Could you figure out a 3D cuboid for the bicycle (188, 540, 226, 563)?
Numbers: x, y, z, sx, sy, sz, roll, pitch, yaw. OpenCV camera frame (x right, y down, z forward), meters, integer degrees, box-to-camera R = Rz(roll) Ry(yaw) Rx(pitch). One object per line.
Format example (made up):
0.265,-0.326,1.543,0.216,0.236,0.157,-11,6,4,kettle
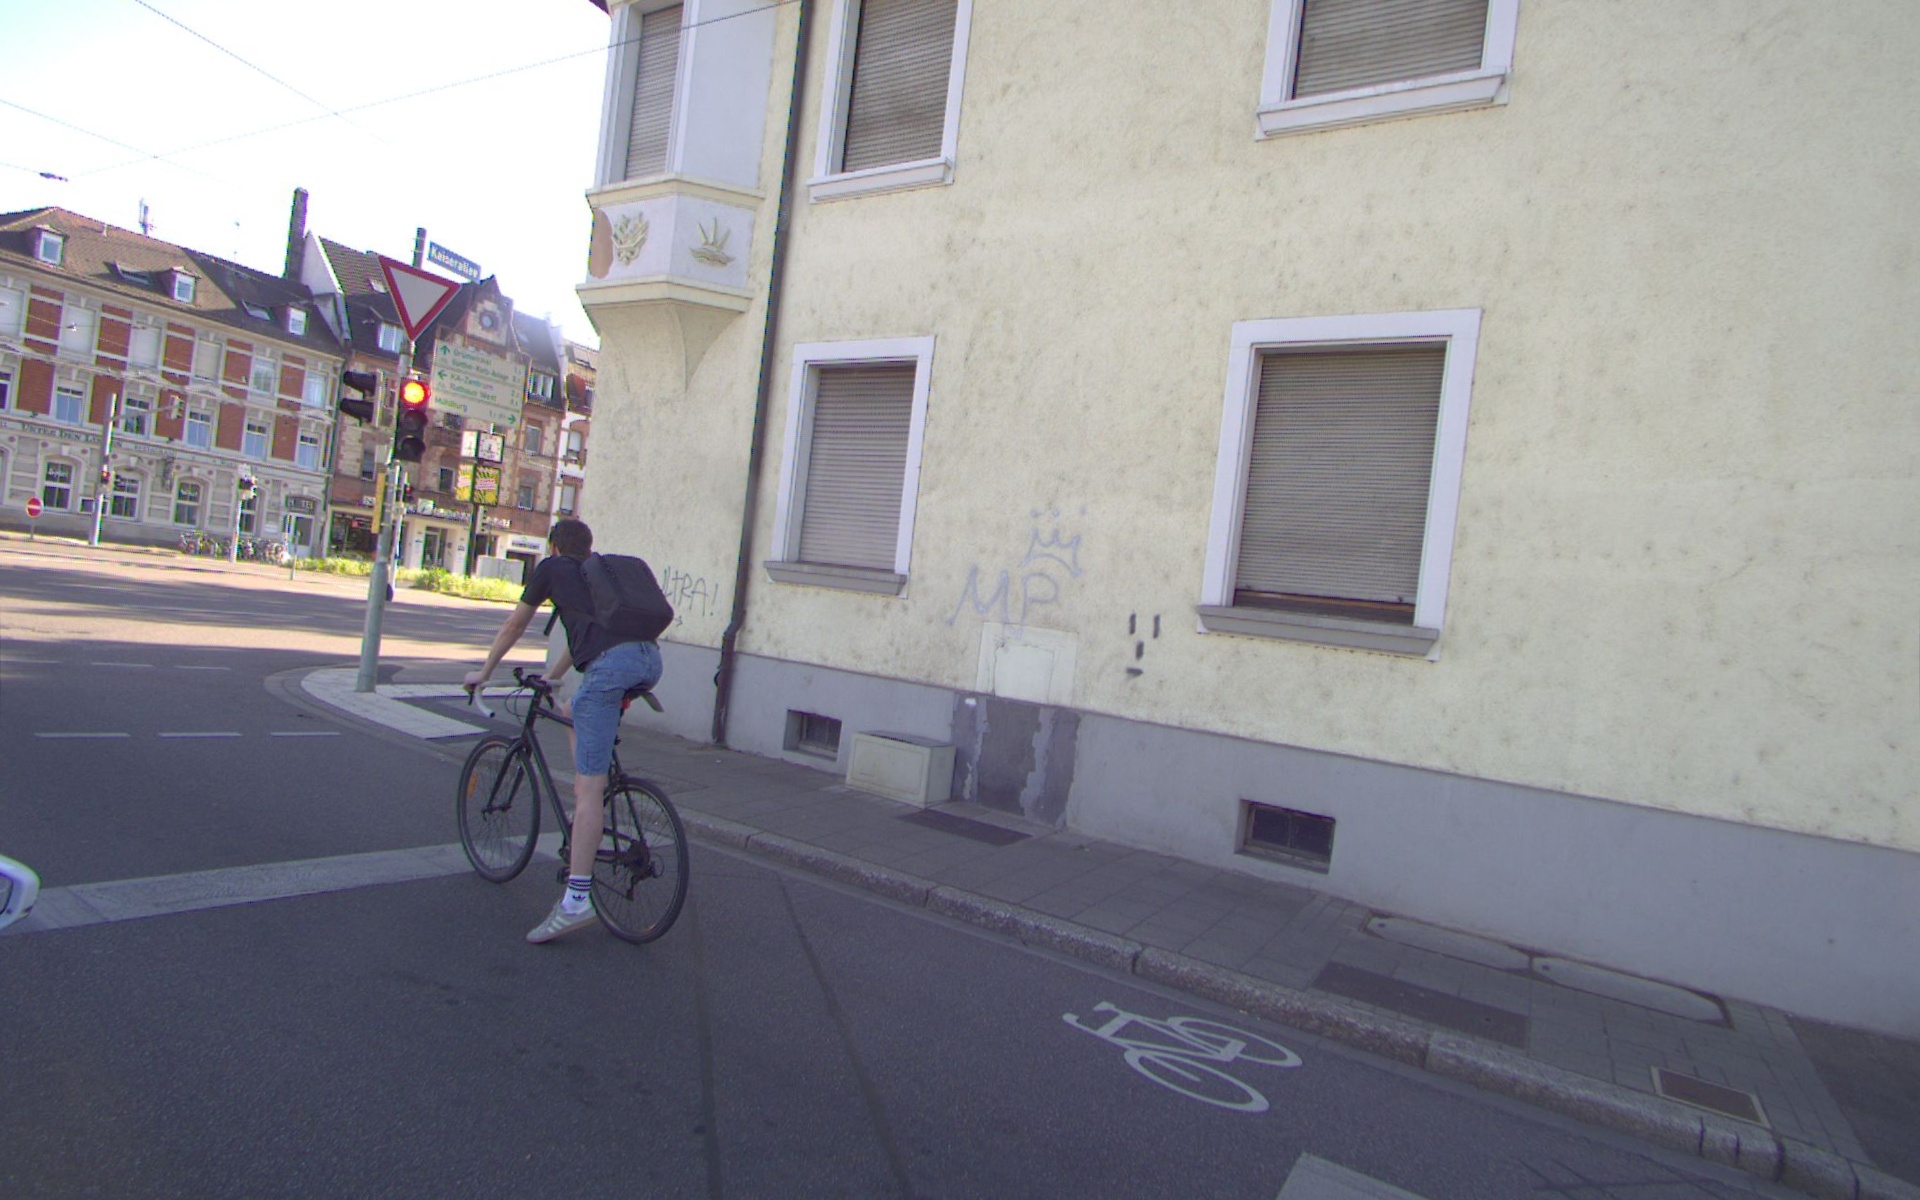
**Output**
-34.560,-2.232,46.152,2.125,0.850,0.659,6,-2,33,bicycle

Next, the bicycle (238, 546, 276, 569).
-33.497,-2.022,47.900,2.125,0.850,0.659,6,-2,33,bicycle

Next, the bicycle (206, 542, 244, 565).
-34.187,-2.158,46.773,2.125,0.850,0.659,6,-2,33,bicycle

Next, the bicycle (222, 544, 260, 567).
-33.853,-2.090,47.369,2.125,0.850,0.659,6,-2,33,bicycle

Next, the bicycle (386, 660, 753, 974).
-1.796,0.879,4.515,1.721,0.982,0.519,7,0,32,bicycle

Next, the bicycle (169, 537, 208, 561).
-34.876,-2.300,45.485,2.125,0.850,0.659,6,-2,33,bicycle

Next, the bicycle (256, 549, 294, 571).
-33.109,-1.943,48.604,2.125,0.850,0.659,6,-2,33,bicycle

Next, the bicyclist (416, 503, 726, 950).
-1.748,0.495,4.495,1.098,1.722,0.573,7,0,32,bicyclist

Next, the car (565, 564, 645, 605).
-23.020,-0.999,65.332,1.968,2.038,4.430,7,-1,34,car
